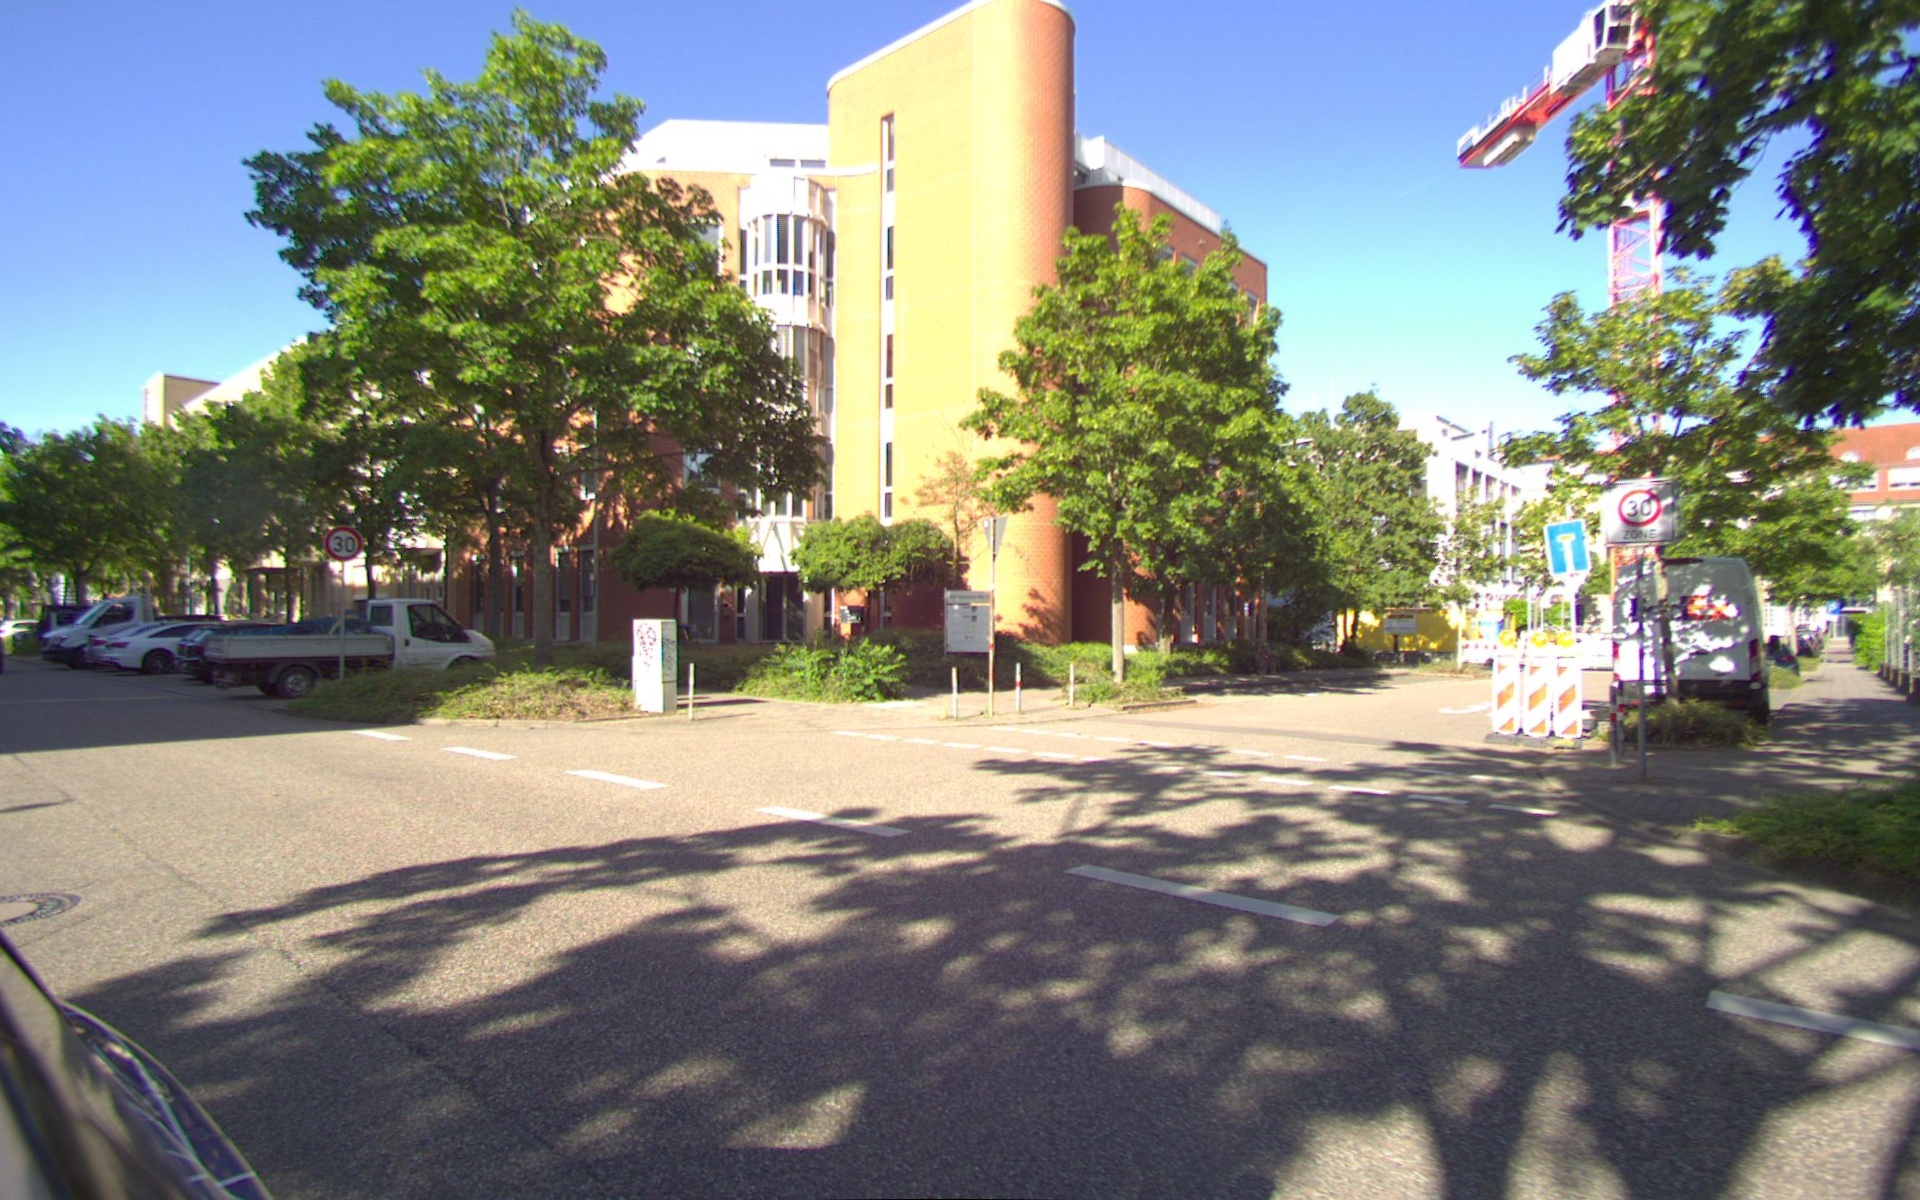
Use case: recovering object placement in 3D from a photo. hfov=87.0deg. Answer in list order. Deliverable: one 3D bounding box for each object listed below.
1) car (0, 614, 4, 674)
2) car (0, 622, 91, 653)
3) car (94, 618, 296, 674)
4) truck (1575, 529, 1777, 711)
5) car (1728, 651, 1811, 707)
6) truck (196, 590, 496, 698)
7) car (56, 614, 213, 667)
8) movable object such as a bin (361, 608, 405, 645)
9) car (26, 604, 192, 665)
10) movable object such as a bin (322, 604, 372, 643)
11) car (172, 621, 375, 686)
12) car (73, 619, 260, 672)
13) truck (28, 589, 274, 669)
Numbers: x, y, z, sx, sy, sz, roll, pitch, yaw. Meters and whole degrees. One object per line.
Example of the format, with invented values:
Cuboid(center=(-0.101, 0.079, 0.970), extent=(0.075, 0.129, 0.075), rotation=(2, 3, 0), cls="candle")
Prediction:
Cuboid(center=(-29.201, 1.237, 29.136), extent=(4.348, 1.697, 1.873), rotation=(-1, -2, 39), cls="car")
Cuboid(center=(-49.110, 1.962, 54.198), extent=(1.753, 1.463, 3.716), rotation=(-1, 1, 41), cls="car")
Cuboid(center=(-22.654, 1.314, 30.126), extent=(1.888, 1.453, 4.496), rotation=(-2, -1, 39), cls="car")
Cuboid(center=(13.157, 0.382, 18.382), extent=(2.575, 2.725, 6.043), rotation=(-1, -2, 39), cls="truck")
Cuboid(center=(27.615, 2.621, 34.492), extent=(2.009, 1.690, 3.945), rotation=(-1, -2, 41), cls="car")
Cuboid(center=(-12.631, 0.892, 21.086), extent=(2.138, 1.974, 4.930), rotation=(-2, -3, 43), cls="truck")
Cuboid(center=(-29.322, 1.370, 36.046), extent=(1.999, 1.674, 4.064), rotation=(0, 0, 41), cls="car")
Cuboid(center=(-25.687, 1.178, 45.048), extent=(1.436, 1.632, 1.137), rotation=(-1, -1, 29), cls="movable object such as a bin")
Cuboid(center=(-31.403, 1.213, 37.453), extent=(1.998, 2.067, 4.437), rotation=(0, 0, 39), cls="car")
Cuboid(center=(-28.884, 1.114, 47.681), extent=(1.664, 1.810, 1.581), rotation=(-1, -2, 43), cls="movable object such as a bin")
Cuboid(center=(-17.108, 1.273, 25.329), extent=(1.790, 1.446, 3.941), rotation=(-1, -1, 45), cls="car")
Cuboid(center=(-25.064, 1.370, 32.087), extent=(1.998, 1.498, 4.382), rotation=(-1, 0, 40), cls="car")
Cuboid(center=(-27.076, 0.993, 34.112), extent=(2.186, 2.440, 6.166), rotation=(-1, -3, 41), cls="truck")
